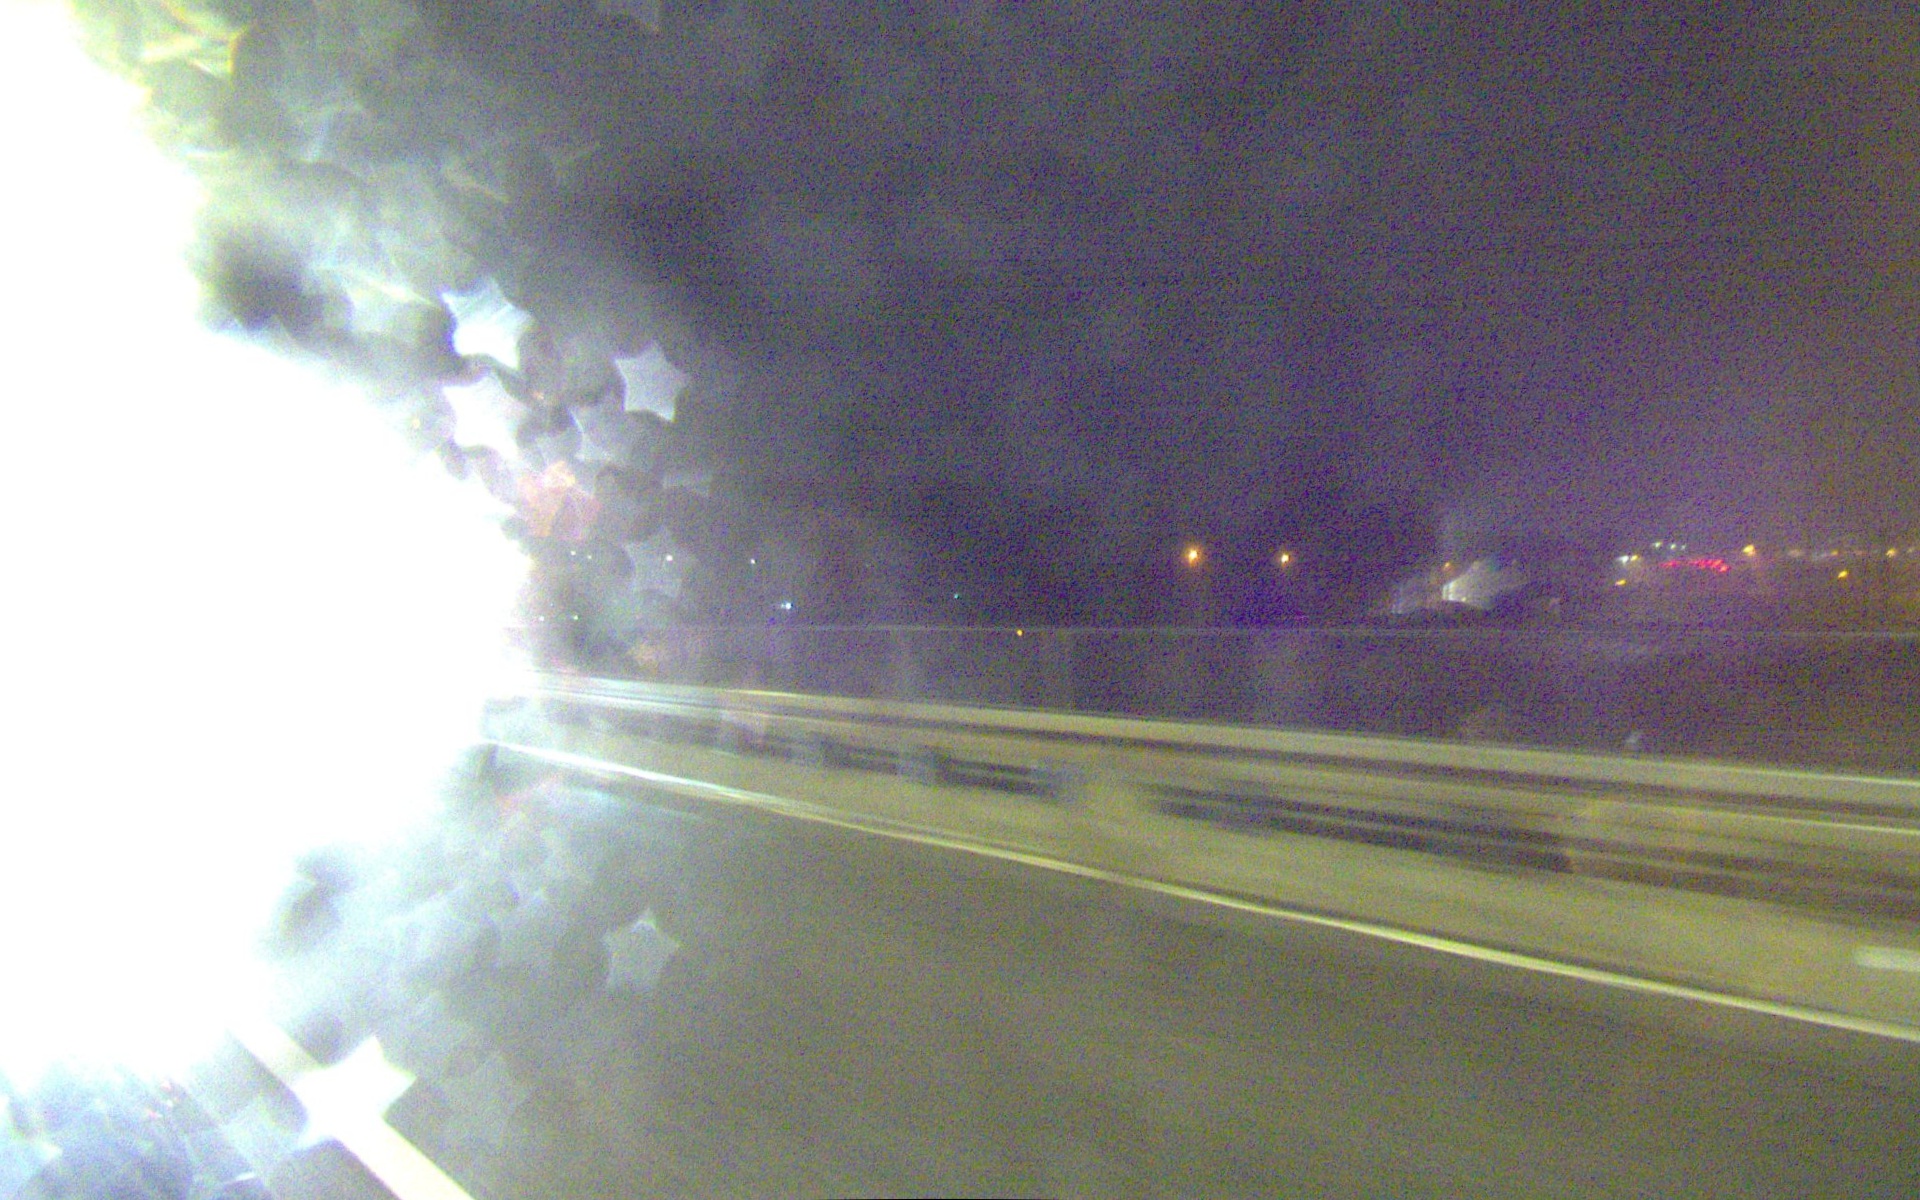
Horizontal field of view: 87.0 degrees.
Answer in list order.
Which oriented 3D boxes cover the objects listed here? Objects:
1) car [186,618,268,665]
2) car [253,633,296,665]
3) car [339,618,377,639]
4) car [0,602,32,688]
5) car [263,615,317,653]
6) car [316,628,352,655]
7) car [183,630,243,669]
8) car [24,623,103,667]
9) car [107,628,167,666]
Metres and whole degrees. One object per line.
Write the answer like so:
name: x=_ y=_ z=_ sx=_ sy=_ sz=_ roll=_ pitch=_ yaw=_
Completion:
car: x=-28.757 y=1.585 z=39.848 sx=1.994 sy=1.732 sz=4.997 roll=1 pitch=-1 yaw=-29
car: x=-50.029 y=3.588 z=73.955 sx=1.628 sy=2.027 sz=4.013 roll=-9 pitch=1 yaw=-23
car: x=-42.532 y=2.008 z=71.570 sx=1.789 sy=1.415 sz=4.061 roll=1 pitch=-2 yaw=-23
car: x=-24.466 y=1.127 z=25.068 sx=1.968 sy=2.029 sz=4.007 roll=-1 pitch=-1 yaw=-39
car: x=-34.977 y=1.762 z=52.917 sx=1.729 sy=1.875 sz=4.013 roll=2 pitch=-3 yaw=-26
car: x=-56.031 y=3.760 z=90.665 sx=1.629 sy=2.028 sz=4.011 roll=-9 pitch=-2 yaw=-18
car: x=-45.017 y=2.945 z=61.072 sx=1.628 sy=2.027 sz=4.013 roll=-8 pitch=1 yaw=-21
car: x=-33.345 y=1.667 z=37.703 sx=1.497 sy=1.537 sz=3.117 roll=0 pitch=-2 yaw=-28
car: x=-38.172 y=2.136 z=46.999 sx=1.284 sy=1.540 sz=3.056 roll=-8 pitch=2 yaw=-25
